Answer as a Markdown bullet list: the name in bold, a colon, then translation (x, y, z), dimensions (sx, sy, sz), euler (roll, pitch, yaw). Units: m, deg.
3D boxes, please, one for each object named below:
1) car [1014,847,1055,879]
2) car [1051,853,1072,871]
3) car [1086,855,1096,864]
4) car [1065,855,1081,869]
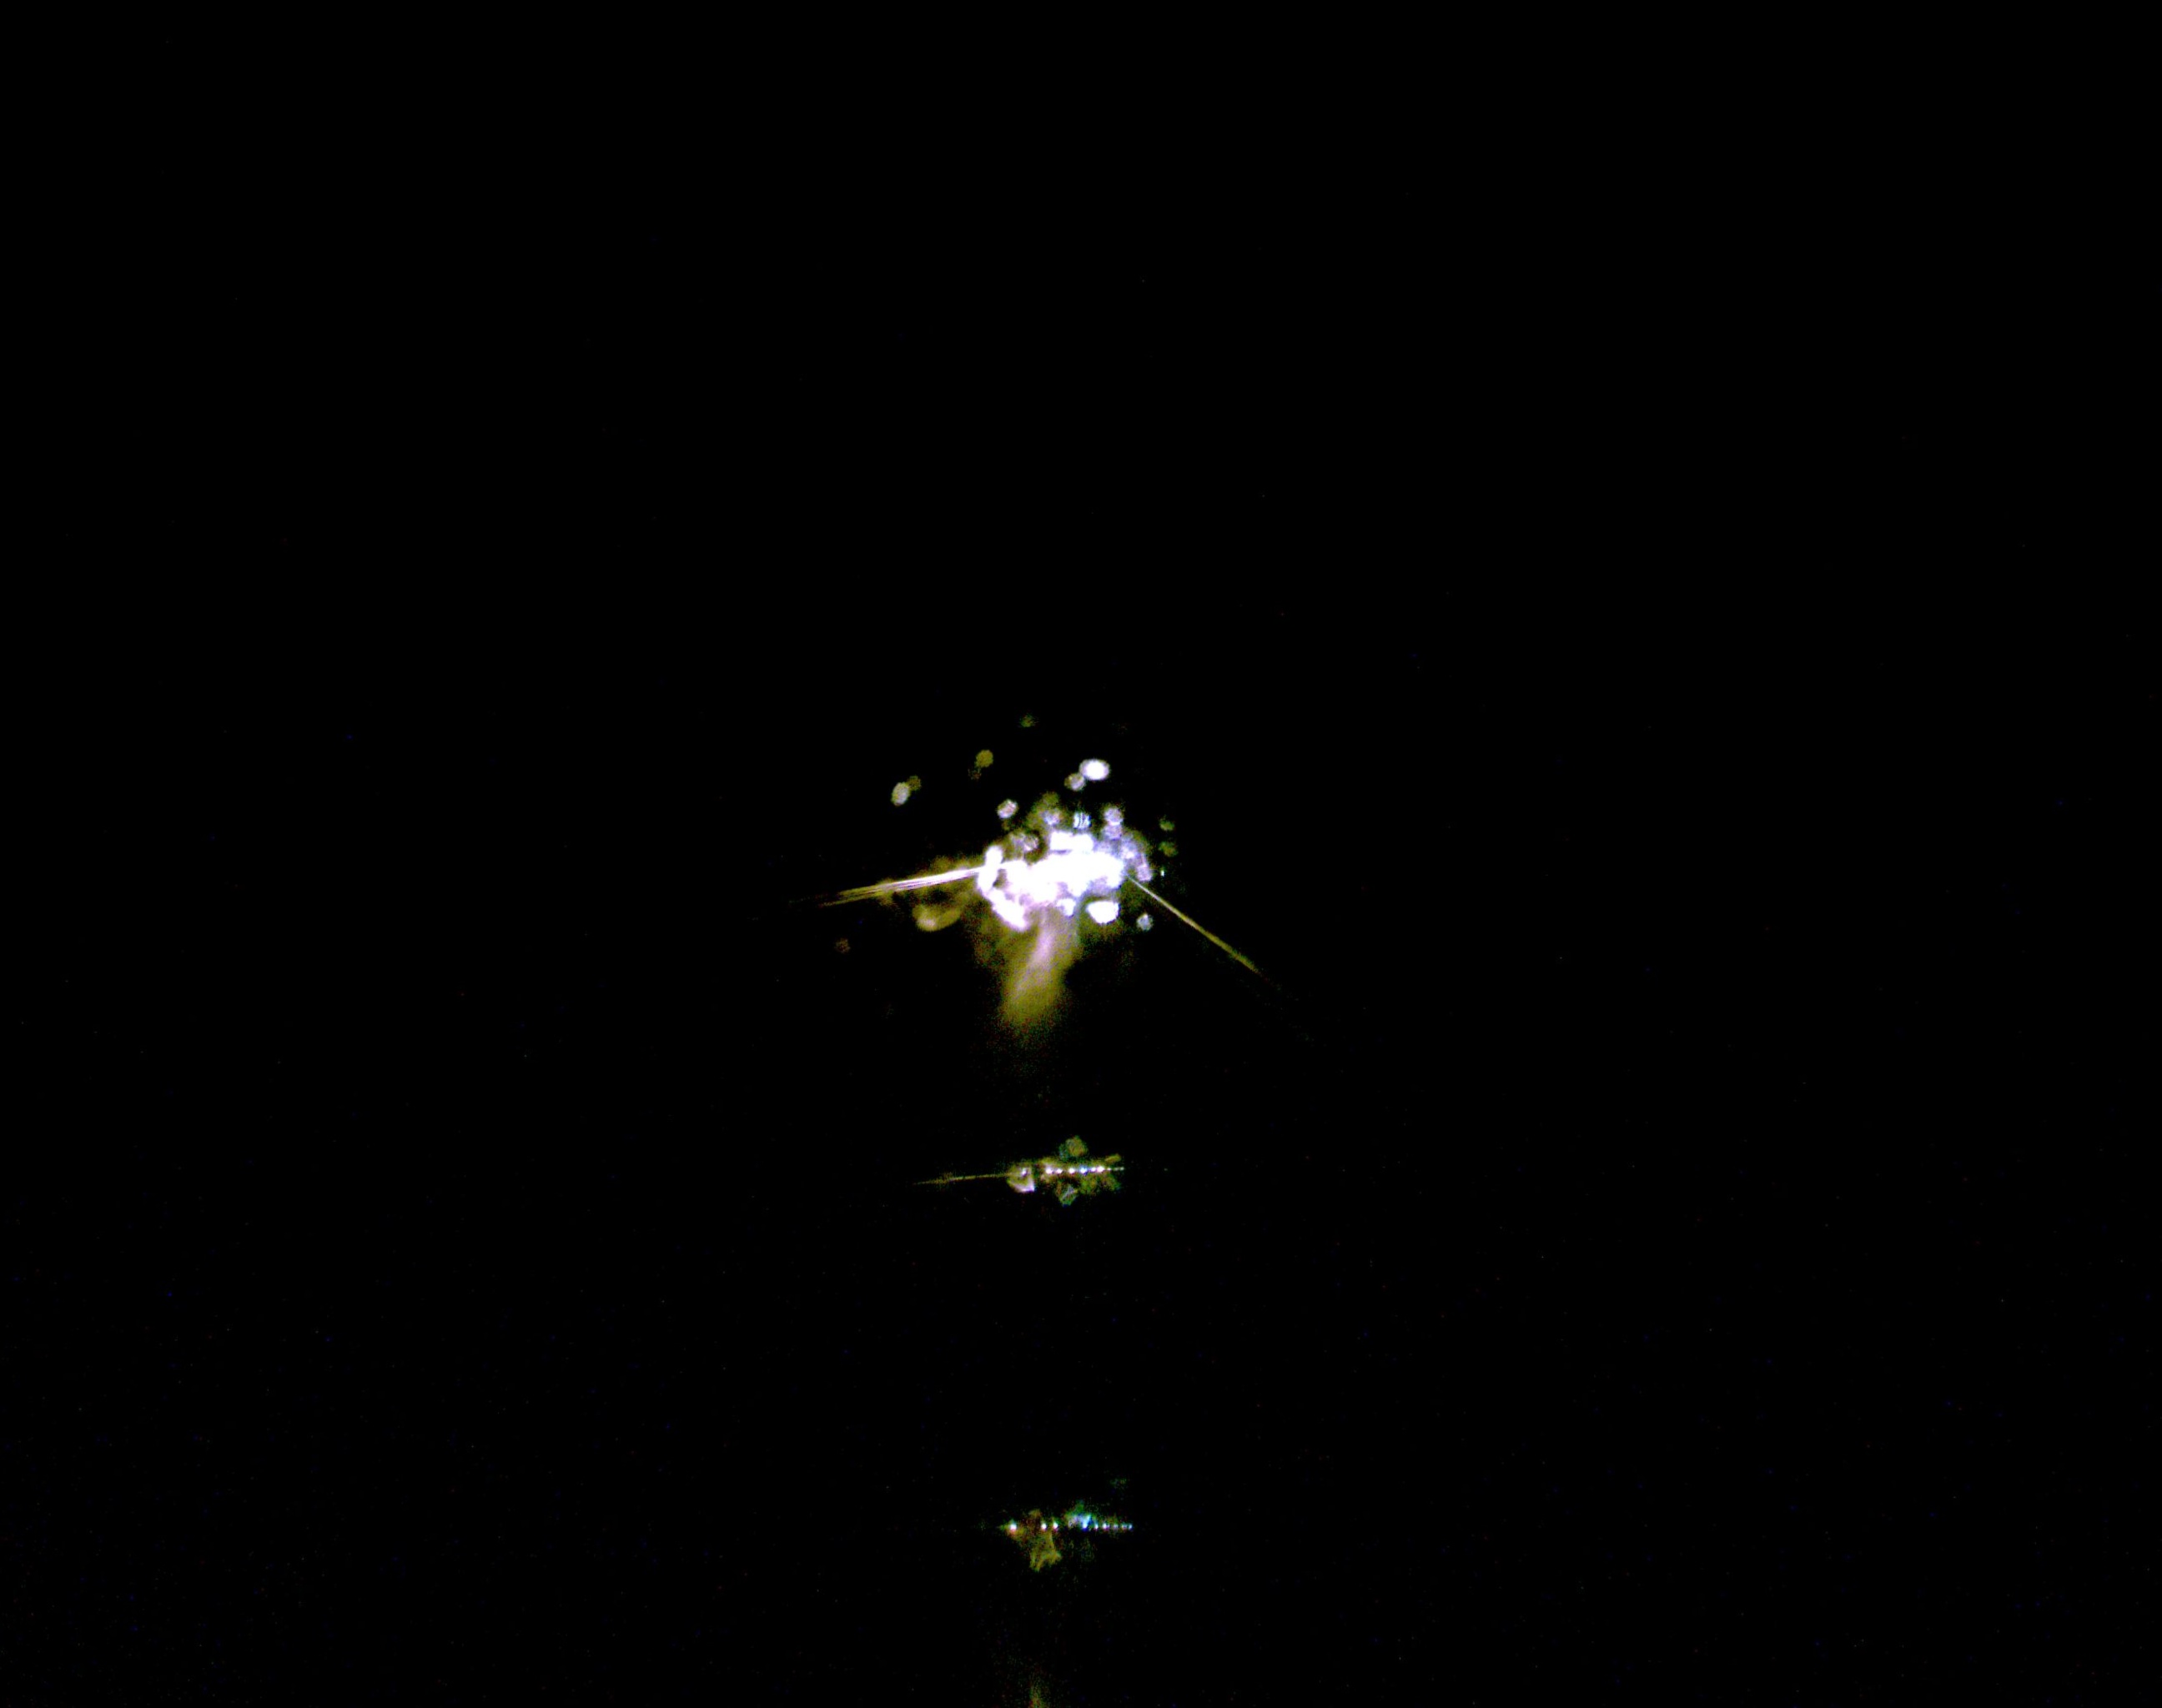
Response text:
- **car**: translation (-2.390, 0.447, 43.089), dimensions (1.802, 1.600, 4.632), euler (0, 0, 1)
- **car**: translation (-1.621, 0.651, 70.042), dimensions (1.639, 1.425, 3.659), euler (2, 0, 0)
- **car**: translation (1.815, 1.009, 145.776), dimensions (1.710, 1.517, 3.879), euler (1, 0, 1)
- **car**: translation (-0.902, 0.818, 87.993), dimensions (1.639, 1.425, 4.122), euler (2, 0, 0)
